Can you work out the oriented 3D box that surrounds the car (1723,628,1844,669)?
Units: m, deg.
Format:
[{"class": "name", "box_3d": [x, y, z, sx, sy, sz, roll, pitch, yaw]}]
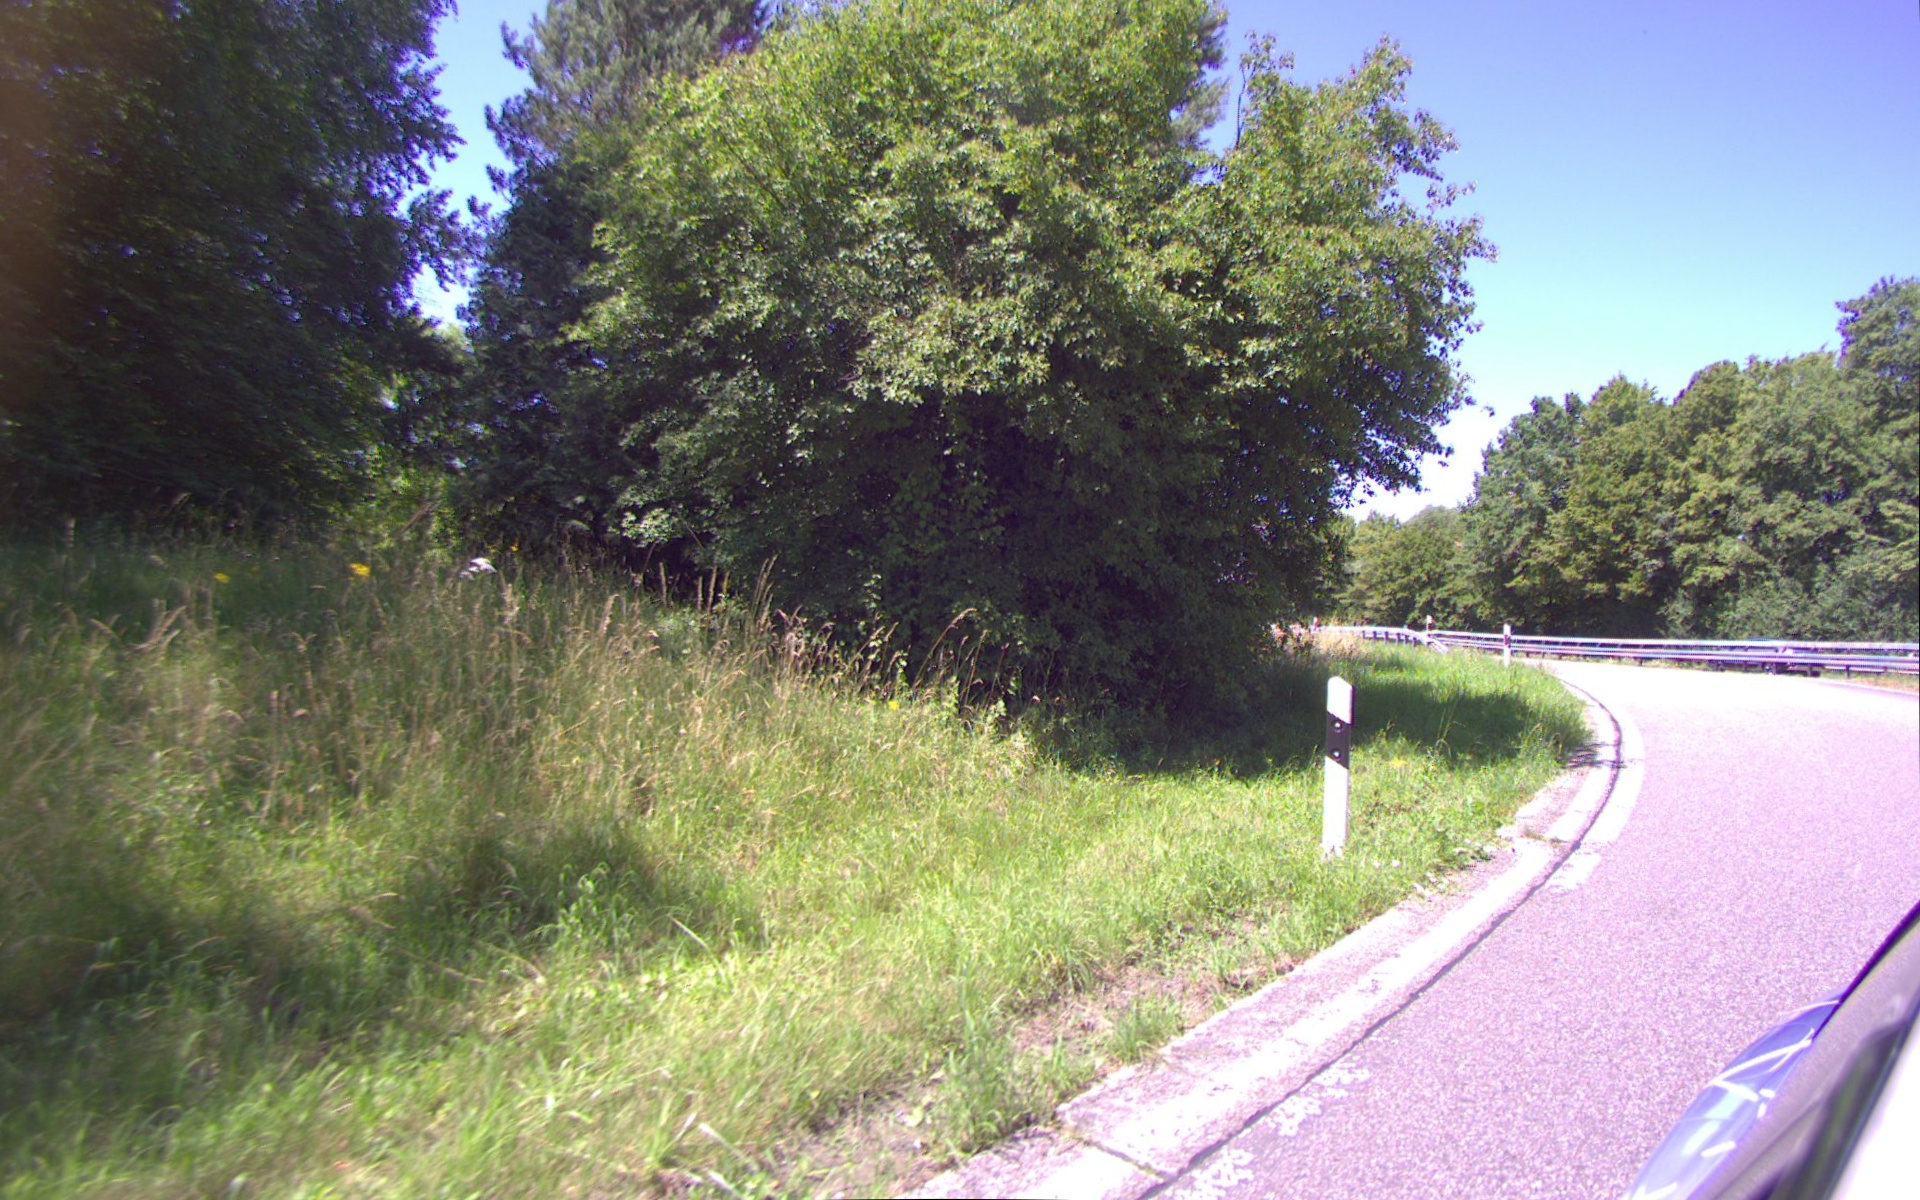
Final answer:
[{"class": "car", "box_3d": [32.521, 1.884, 40.112, 1.417, 1.399, 3.851, 4, -1, -4]}]
